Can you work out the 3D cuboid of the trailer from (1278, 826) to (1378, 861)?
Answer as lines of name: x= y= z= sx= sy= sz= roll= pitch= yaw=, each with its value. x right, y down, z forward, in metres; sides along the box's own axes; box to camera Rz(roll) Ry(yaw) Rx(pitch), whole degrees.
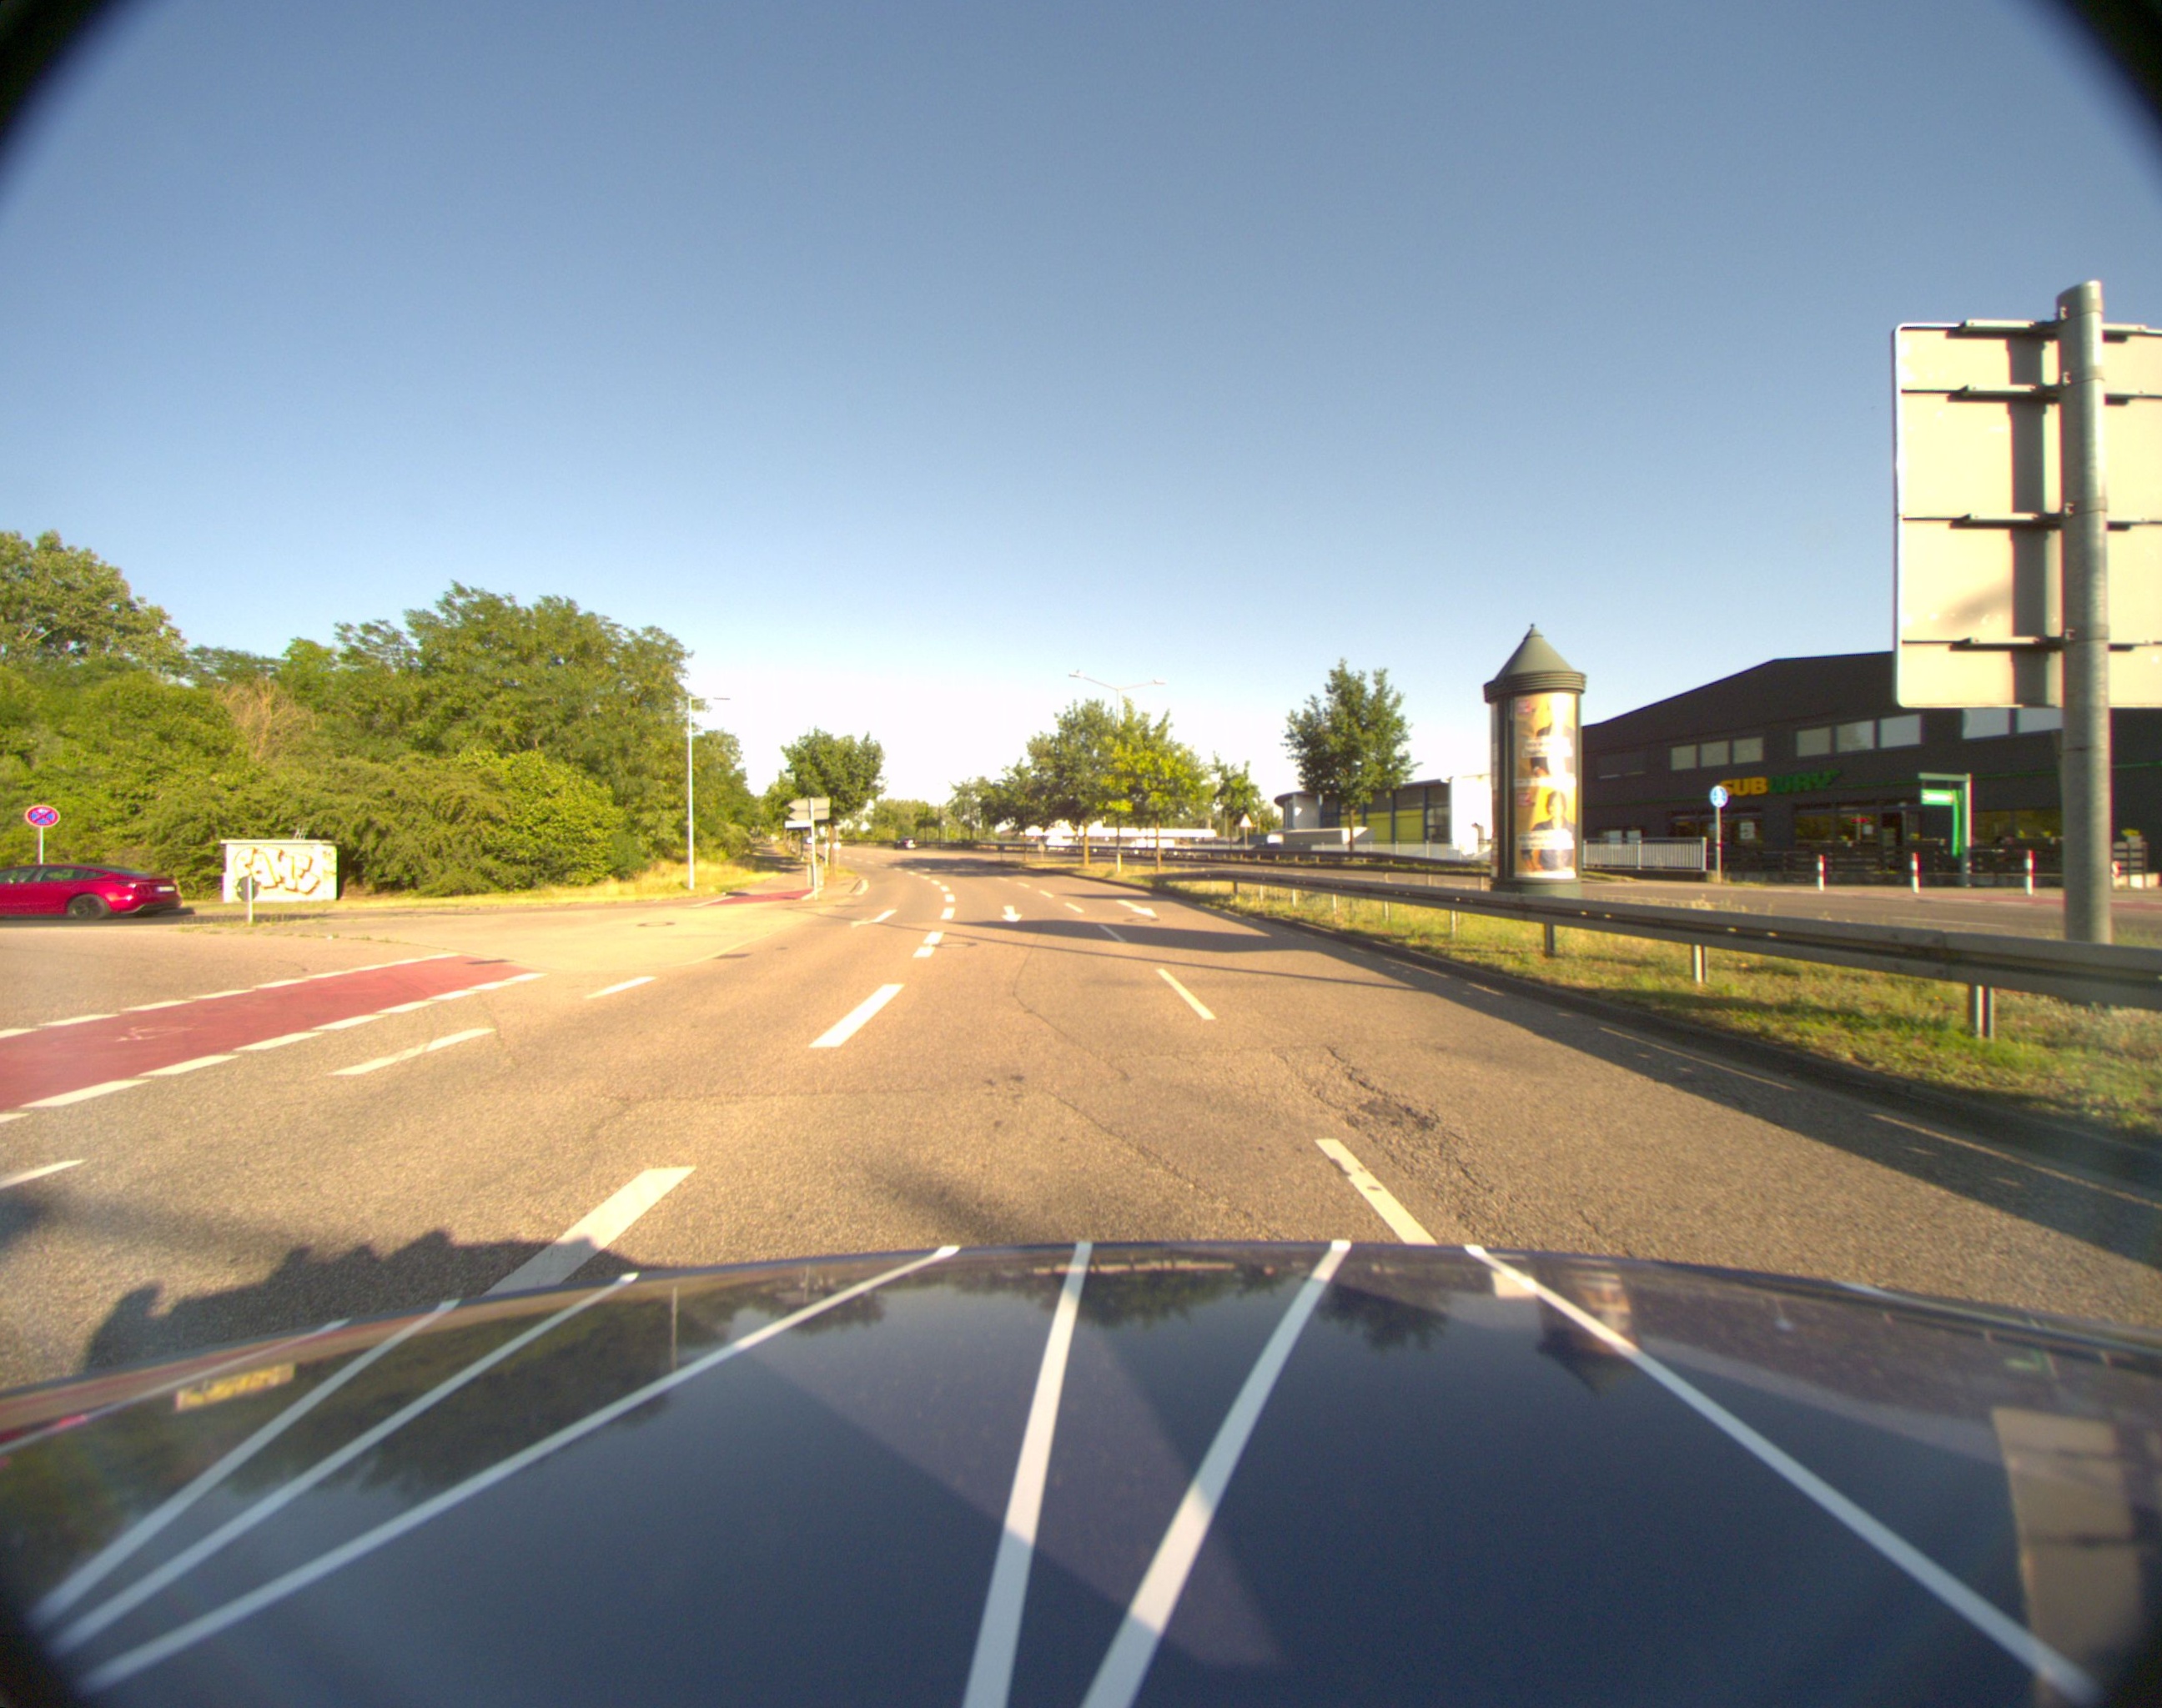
trailer: x=15.221 y=-0.698 z=47.365 sx=2.429 sy=1.959 sz=6.593 roll=-1 pitch=2 yaw=-19

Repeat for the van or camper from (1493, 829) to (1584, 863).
van or camper: x=26.945 y=-0.503 z=44.920 sx=4.220 sy=1.915 sz=2.002 roll=1 pitch=3 yaw=17

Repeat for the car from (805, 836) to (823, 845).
car: x=-45.323 y=-2.325 z=128.823 sx=1.681 sy=1.454 sz=4.093 roll=-2 pitch=2 yaw=-37

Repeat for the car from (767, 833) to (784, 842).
car: x=-57.461 y=-3.116 z=142.772 sx=1.749 sy=1.454 sz=3.755 roll=-4 pitch=3 yaw=-40

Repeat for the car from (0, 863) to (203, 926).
car: x=-25.874 y=1.023 z=19.277 sx=4.364 sy=1.433 sz=1.780 roll=-1 pitch=-1 yaw=-22

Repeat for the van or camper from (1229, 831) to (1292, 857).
van or camper: x=12.734 y=-0.751 z=54.144 sx=2.002 sy=1.676 sz=4.950 roll=-2 pitch=2 yaw=-20

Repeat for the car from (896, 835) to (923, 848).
car: x=-21.519 y=-1.594 z=95.240 sx=1.855 sy=1.595 sz=4.382 roll=-2 pitch=2 yaw=-35
